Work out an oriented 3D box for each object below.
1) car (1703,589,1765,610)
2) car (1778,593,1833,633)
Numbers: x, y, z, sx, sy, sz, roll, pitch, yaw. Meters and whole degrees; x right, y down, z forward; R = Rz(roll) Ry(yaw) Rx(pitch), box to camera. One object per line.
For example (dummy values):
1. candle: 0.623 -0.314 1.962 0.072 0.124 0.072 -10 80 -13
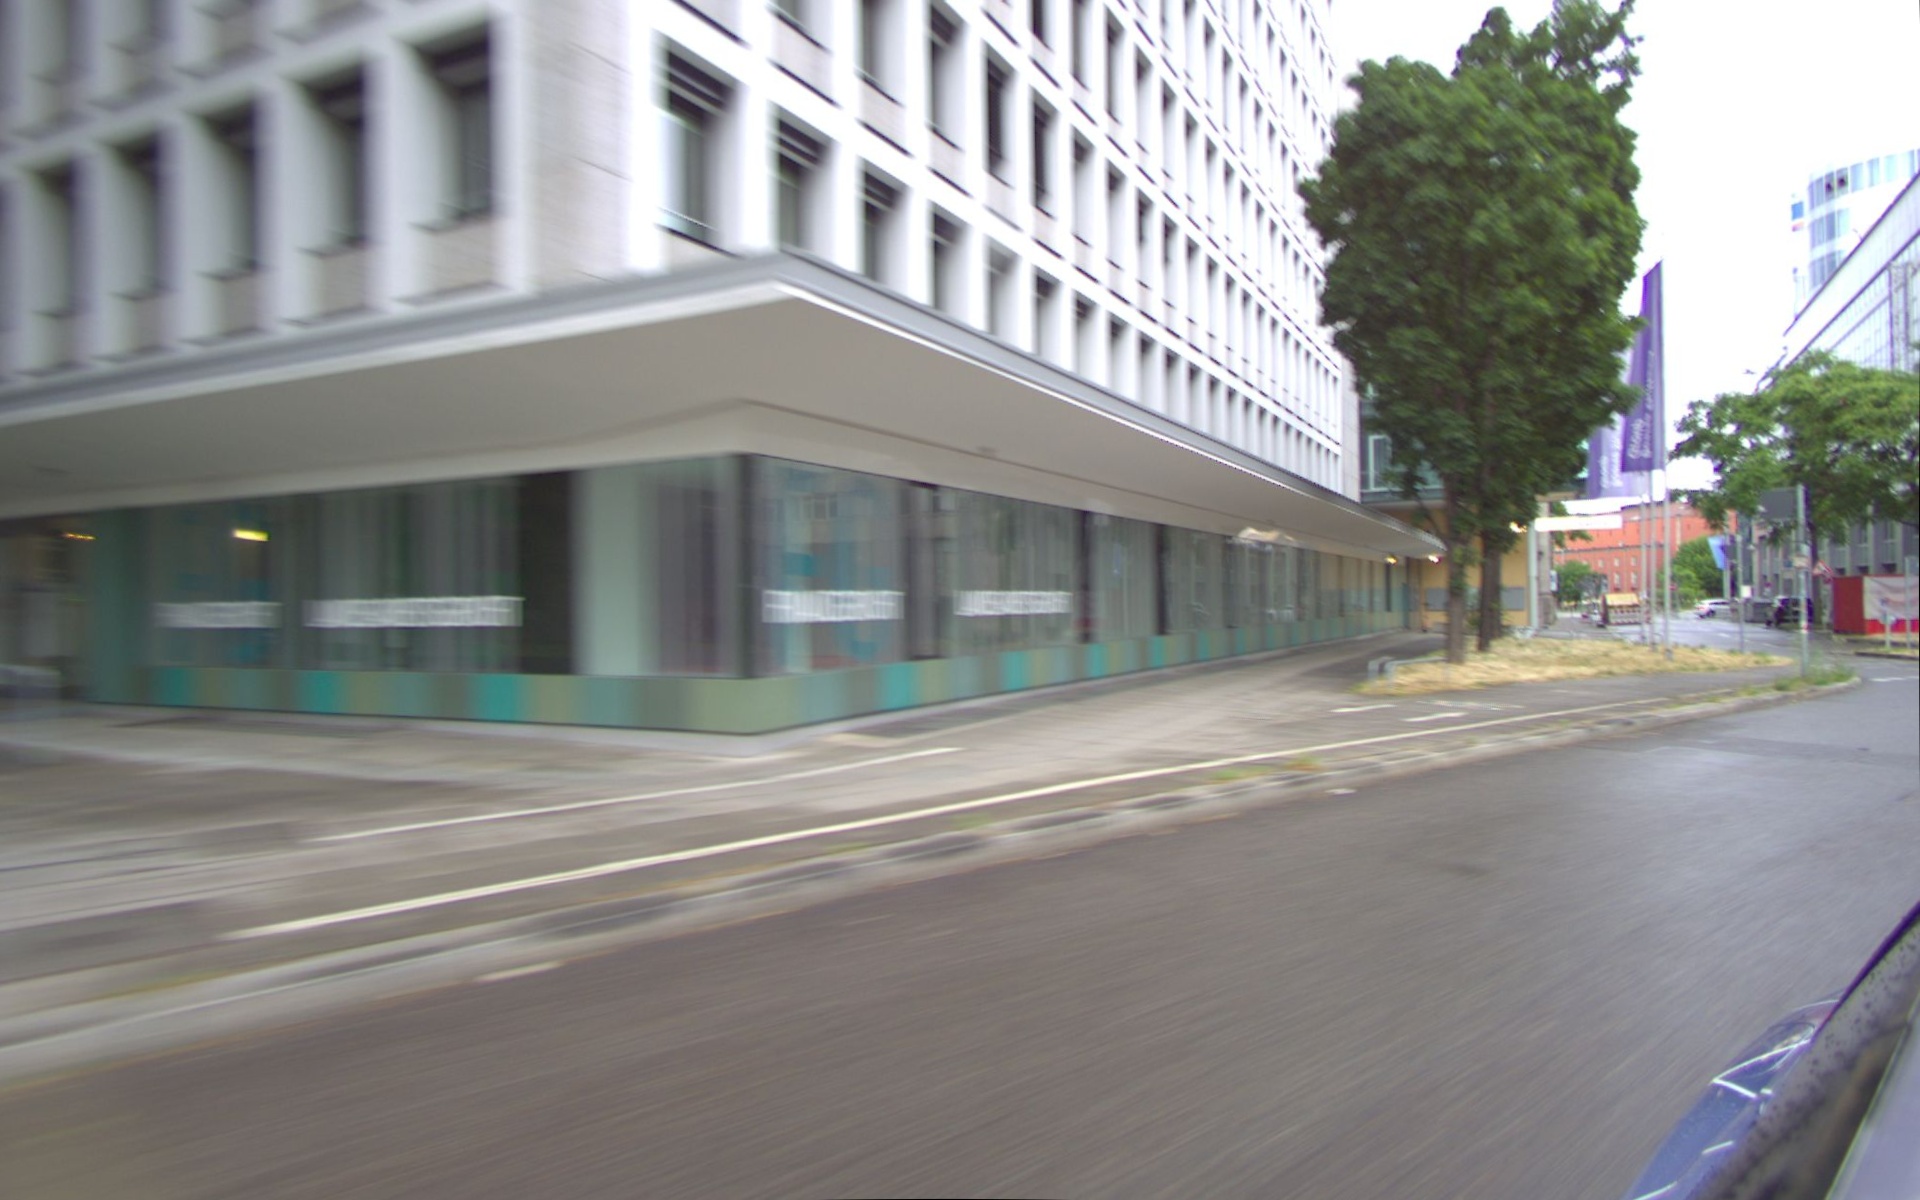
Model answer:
1. car: 64.758 -0.032 84.735 3.722 1.671 1.789 2 0 18
2. car: 46.401 0.701 55.608 1.988 2.106 3.947 -2 -1 37
